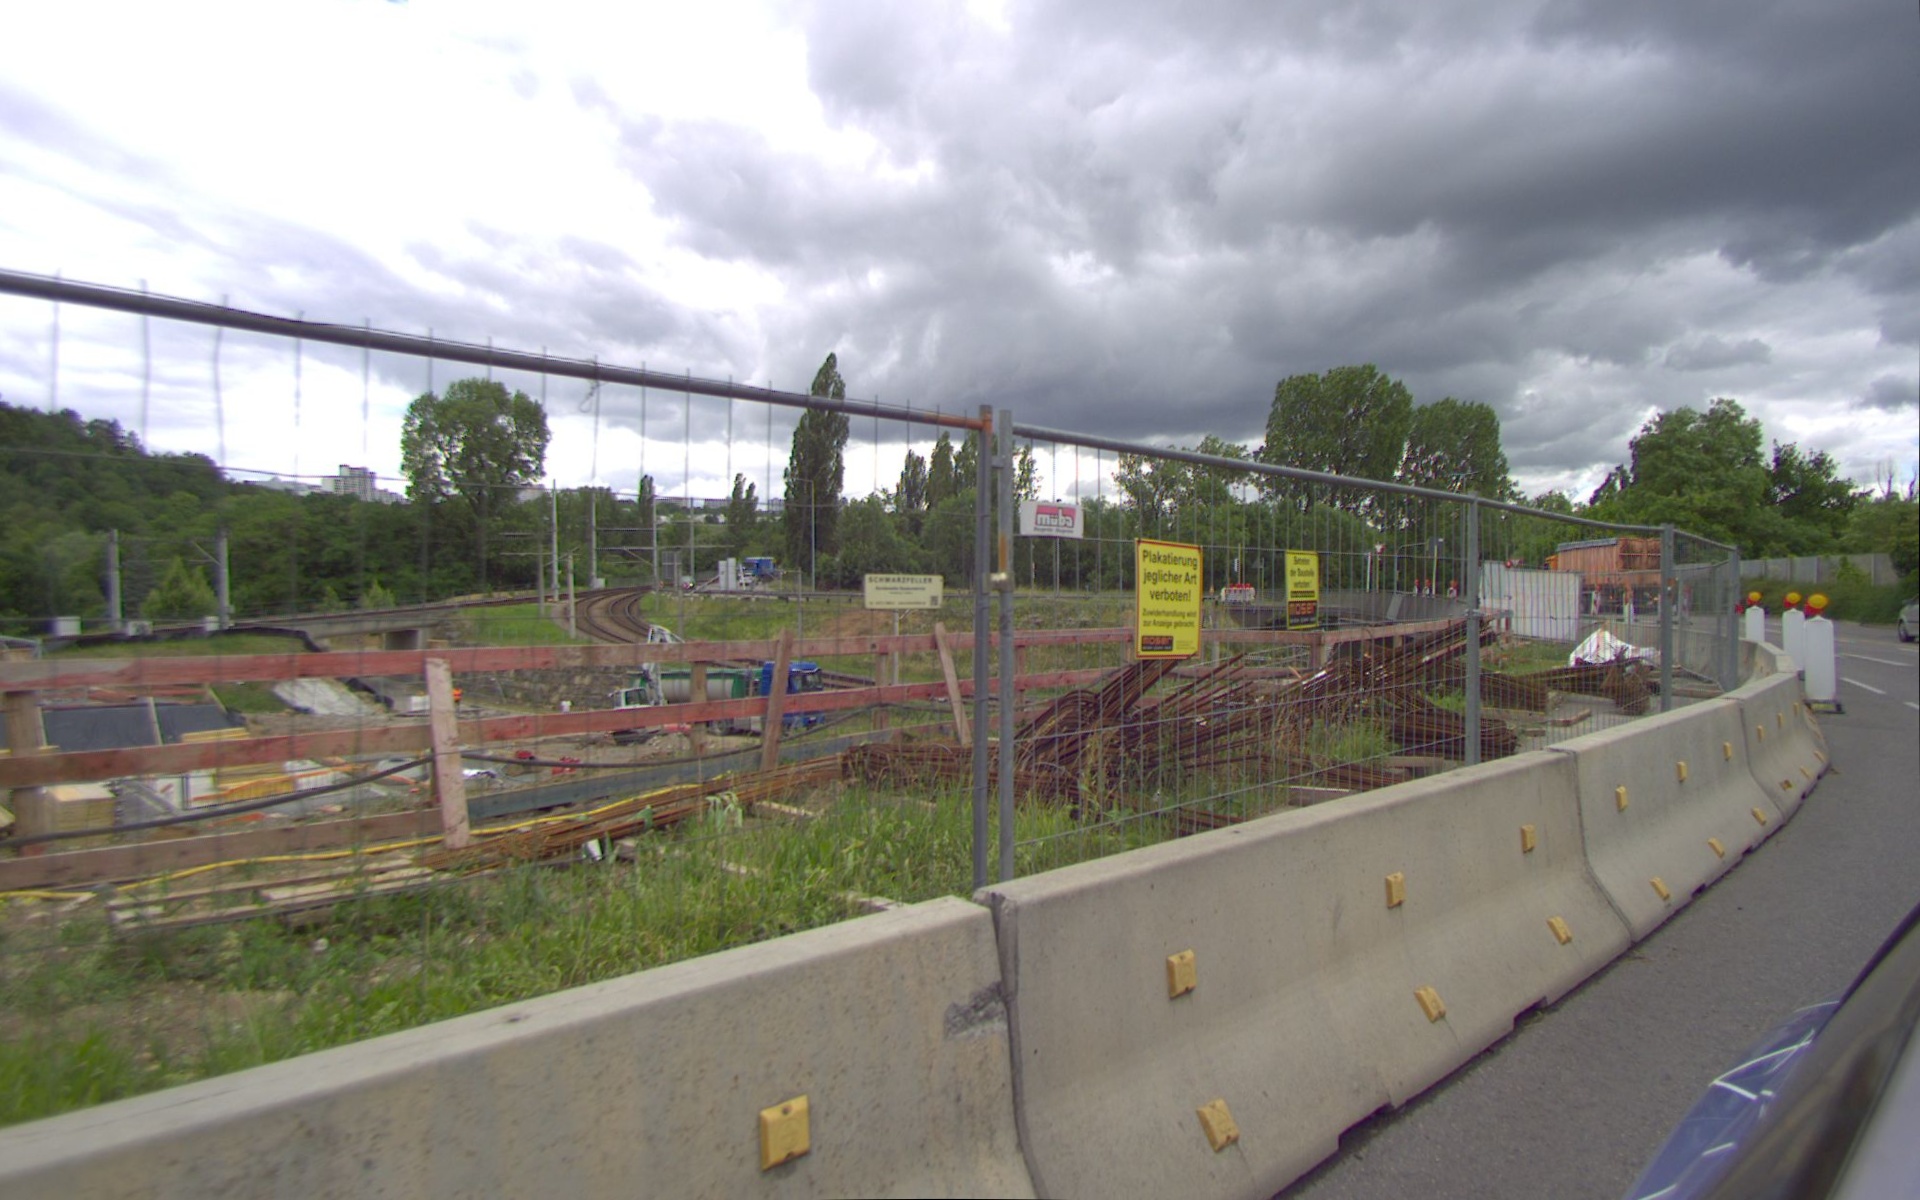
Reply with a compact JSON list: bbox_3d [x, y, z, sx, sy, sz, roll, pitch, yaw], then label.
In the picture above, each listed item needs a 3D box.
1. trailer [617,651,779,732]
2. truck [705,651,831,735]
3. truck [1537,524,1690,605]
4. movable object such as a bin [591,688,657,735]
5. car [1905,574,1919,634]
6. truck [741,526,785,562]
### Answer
[{"bbox_3d":[-13.798,4.653,52.957,9.059,3.810,2.395,-1,0,29],"label":"trailer"},{"bbox_3d":[-9.633,4.554,50.605,6.076,3.810,2.395,-1,0,29],"label":"truck"},{"bbox_3d":[34.939,-1.792,54.740,2.990,3.946,9.980,0,1,8],"label":"truck"},{"bbox_3d":[-16.110,5.310,48.527,2.401,1.851,1.997,-1,1,-40],"label":"movable object such as a bin"},{"bbox_3d":[25.796,0.102,25.632,1.879,1.583,4.056,-1,1,31],"label":"car"},{"bbox_3d":[-29.181,-8.410,150.326,2.905,3.139,8.151,12,18,14],"label":"truck"}]
